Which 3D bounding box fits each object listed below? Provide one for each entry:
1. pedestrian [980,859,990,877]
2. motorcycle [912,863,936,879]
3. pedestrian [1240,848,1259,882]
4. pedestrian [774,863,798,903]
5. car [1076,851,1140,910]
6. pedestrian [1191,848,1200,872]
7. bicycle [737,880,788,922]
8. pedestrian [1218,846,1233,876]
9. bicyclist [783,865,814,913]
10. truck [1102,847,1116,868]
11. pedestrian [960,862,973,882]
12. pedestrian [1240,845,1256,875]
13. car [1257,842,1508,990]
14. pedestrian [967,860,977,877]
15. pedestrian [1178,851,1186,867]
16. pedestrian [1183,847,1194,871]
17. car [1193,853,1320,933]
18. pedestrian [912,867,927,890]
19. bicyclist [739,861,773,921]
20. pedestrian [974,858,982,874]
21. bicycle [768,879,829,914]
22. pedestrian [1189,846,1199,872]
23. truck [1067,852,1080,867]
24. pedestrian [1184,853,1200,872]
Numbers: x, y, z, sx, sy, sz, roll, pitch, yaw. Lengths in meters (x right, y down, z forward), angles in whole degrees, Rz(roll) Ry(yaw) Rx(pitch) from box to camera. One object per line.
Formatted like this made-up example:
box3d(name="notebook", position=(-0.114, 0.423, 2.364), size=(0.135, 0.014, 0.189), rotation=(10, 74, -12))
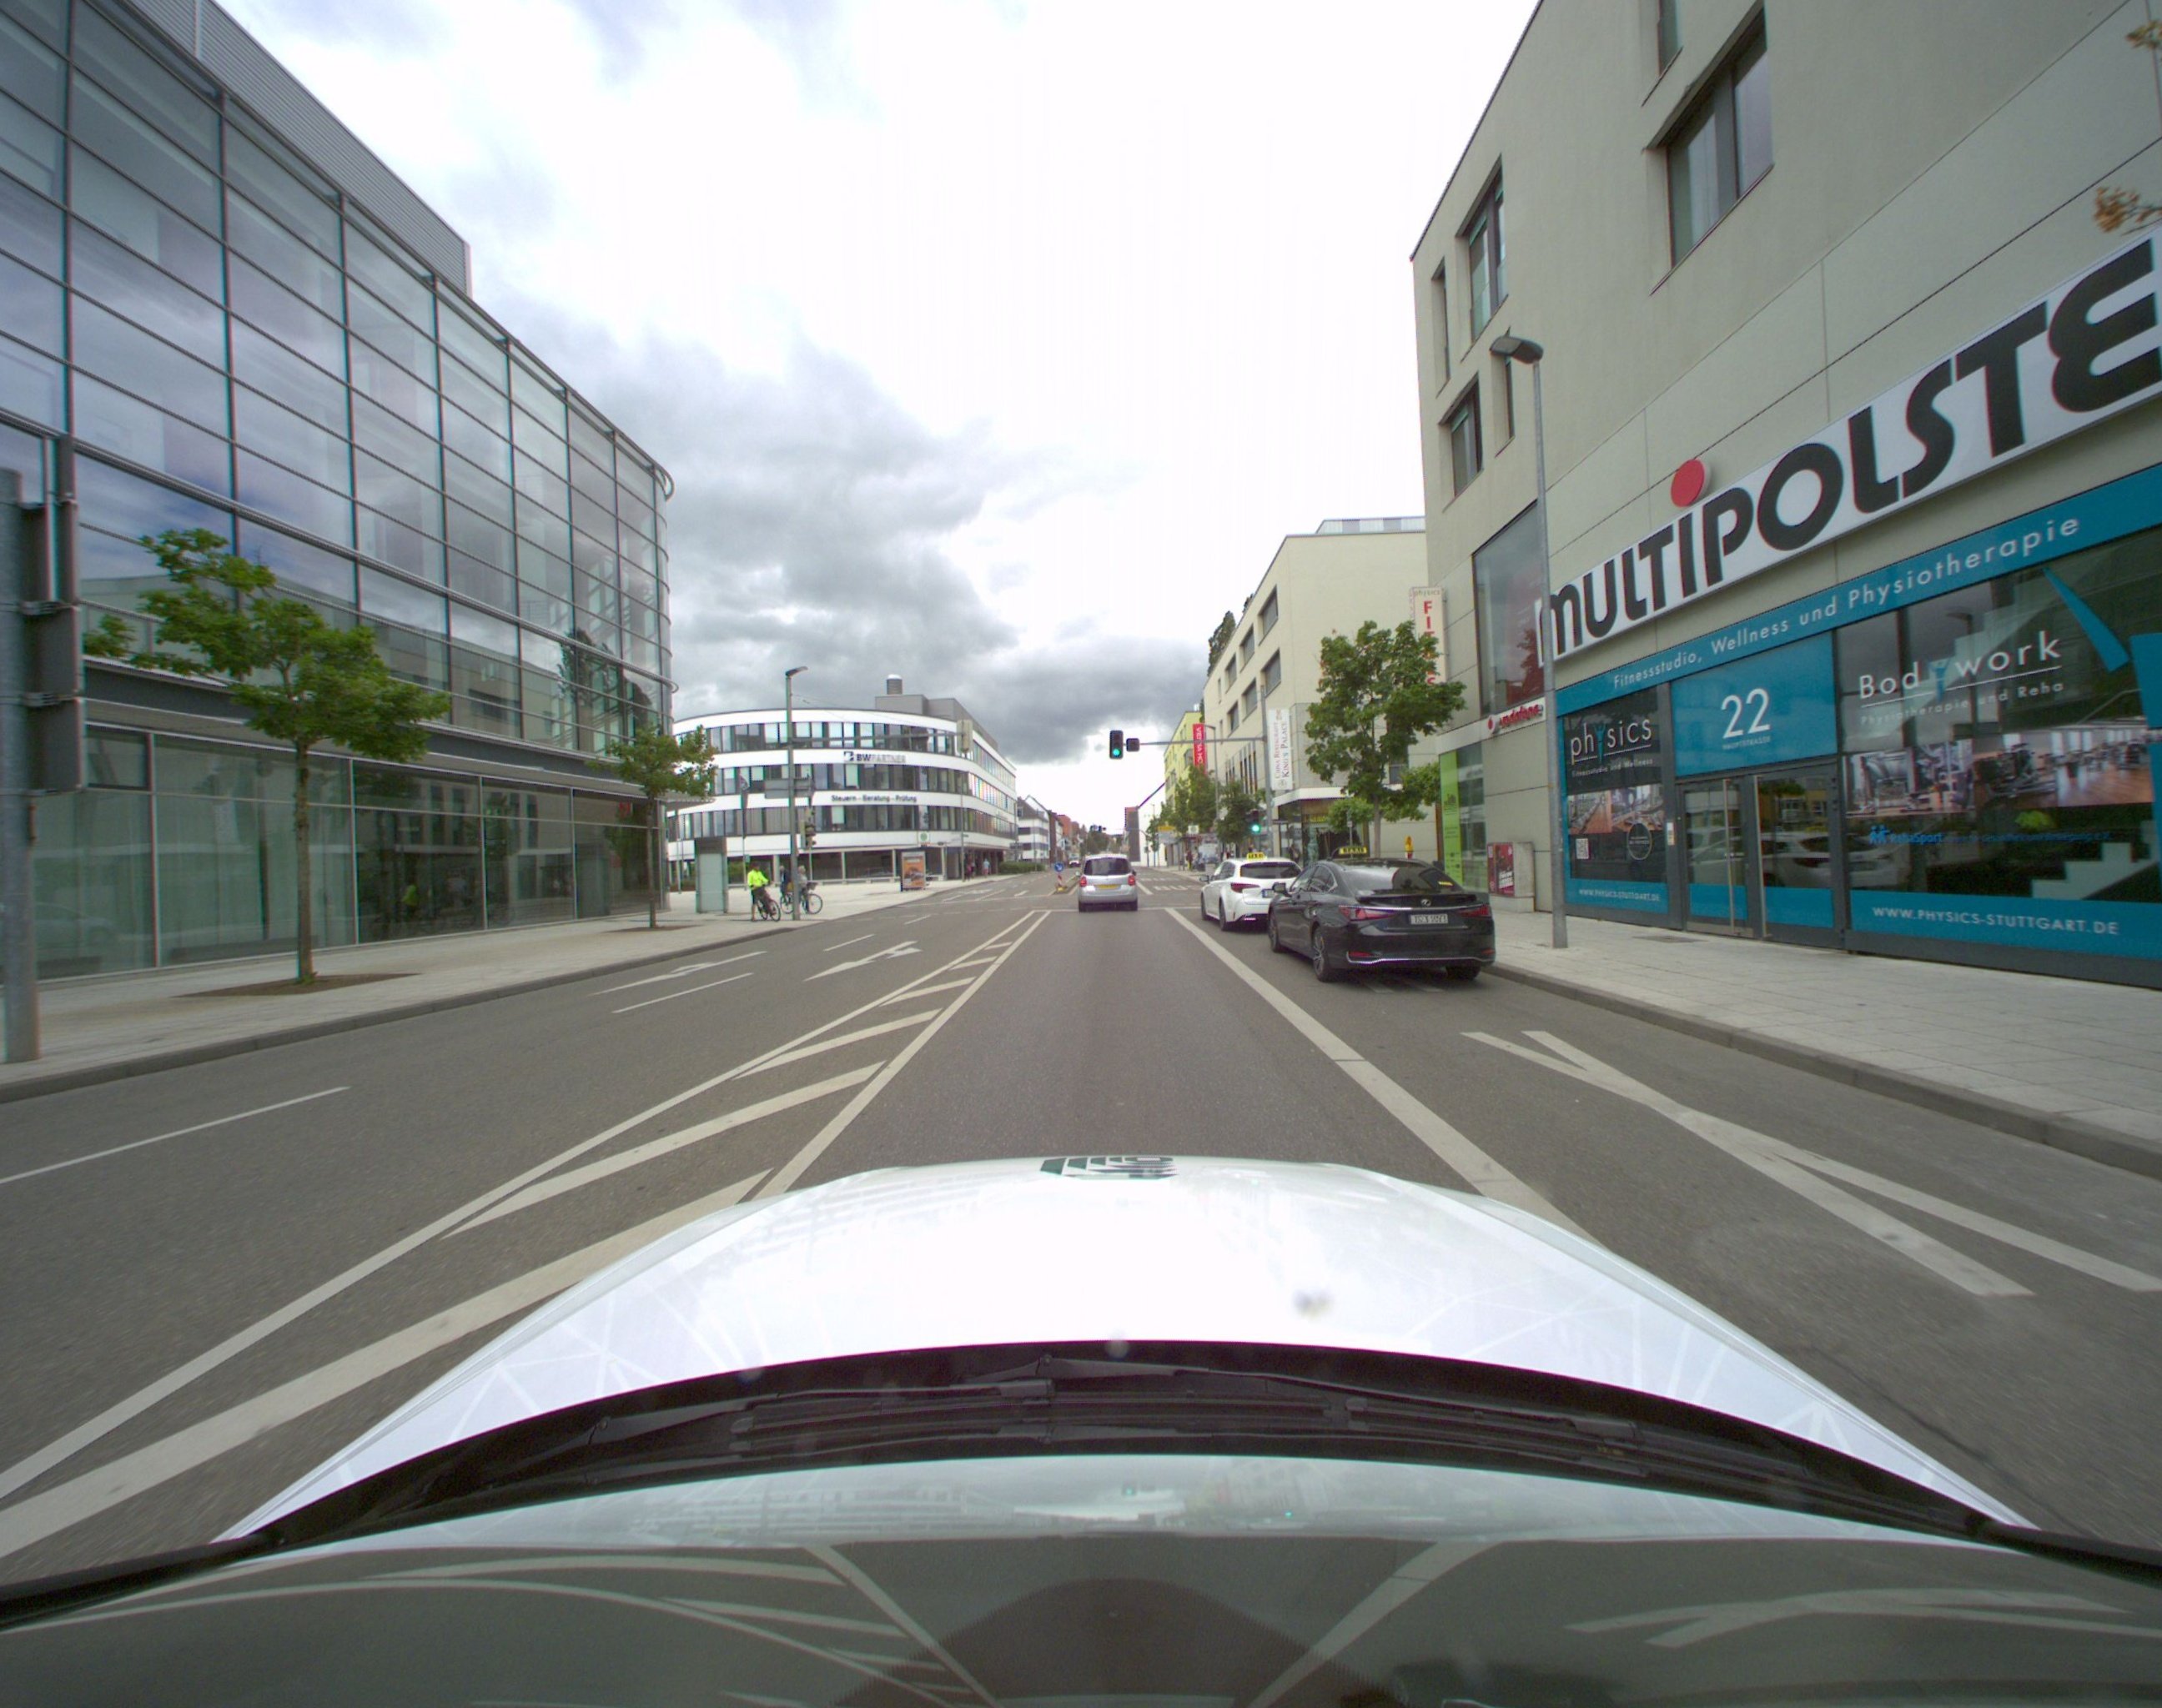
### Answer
box3d(name="pedestrian", position=(-8.754, 1.284, 74.662), size=(0.727, 1.674, 0.932), rotation=(-1, -1, 3))
box3d(name="motorcycle", position=(-13.257, 1.468, 68.657), size=(1.845, 1.333, 0.637), rotation=(-1, -1, 5))
box3d(name="pedestrian", position=(8.287, 0.529, 39.995), size=(0.737, 1.608, 0.715), rotation=(-2, -1, 2))
box3d(name="pedestrian", position=(-14.820, 1.456, 40.934), size=(0.907, 1.945, 0.742), rotation=(-1, -1, -37))
box3d(name="car", position=(0.783, 0.719, 23.920), size=(1.700, 1.579, 4.001), rotation=(0, 0, 2))
box3d(name="pedestrian", position=(7.878, 0.407, 56.045), size=(0.576, 1.591, 0.734), rotation=(-3, -1, 7))
box3d(name="bicycle", position=(-9.893, 1.426, 25.265), size=(0.752, 1.206, 2.006), rotation=(0, -1, -44))
box3d(name="pedestrian", position=(8.172, 0.411, 46.108), size=(0.652, 1.669, 0.614), rotation=(-2, -1, 2))
box3d(name="bicyclist", position=(-9.805, 1.198, 28.252), size=(0.775, 1.649, 0.641), rotation=(0, -1, 17))
box3d(name="truck", position=(5.442, 0.622, 156.934), size=(2.585, 3.857, 6.852), rotation=(-2, 0, 2))
box3d(name="pedestrian", position=(-8.909, 1.410, 63.335), size=(0.826, 1.567, 0.814), rotation=(-1, -1, 7))
box3d(name="pedestrian", position=(9.471, 0.361, 46.252), size=(0.741, 1.669, 0.614), rotation=(-2, -1, 2))
box3d(name="car", position=(3.689, 0.673, 10.978), size=(1.730, 1.542, 4.792), rotation=(0, 0, 2))
box3d(name="pedestrian", position=(-10.082, 1.336, 75.660), size=(0.727, 1.613, 0.932), rotation=(-1, -1, 3))
box3d(name="pedestrian", position=(10.633, 0.534, 85.938), size=(0.693, 1.593, 0.603), rotation=(-3, -1, 0))
box3d(name="pedestrian", position=(7.921, 0.379, 59.854), size=(0.717, 1.683, 0.734), rotation=(-3, -1, 7))
box3d(name="car", position=(3.558, 0.738, 17.371), size=(1.776, 1.425, 4.515), rotation=(-1, 0, 1))
box3d(name="pedestrian", position=(-9.313, 1.420, 47.101), size=(0.682, 1.253, 0.576), rotation=(-3, -1, 0))
box3d(name="bicyclist", position=(-9.980, 1.113, 25.008), size=(0.752, 1.800, 0.764), rotation=(1, -1, -44))
box3d(name="pedestrian", position=(-11.515, 1.332, 91.069), size=(0.500, 1.730, 0.619), rotation=(-3, -1, 33))
box3d(name="bicycle", position=(-9.779, 1.463, 28.222), size=(1.984, 1.130, 0.641), rotation=(0, 0, 17))
box3d(name="pedestrian", position=(8.114, 0.360, 58.430), size=(0.576, 1.769, 0.858), rotation=(-3, -1, 7))
box3d(name="truck", position=(-1.548, 1.197, 169.893), size=(2.426, 2.953, 8.367), rotation=(-2, 0, 2))
box3d(name="pedestrian", position=(7.818, 0.606, 57.395), size=(0.940, 1.259, 0.732), rotation=(-3, -1, -1))
